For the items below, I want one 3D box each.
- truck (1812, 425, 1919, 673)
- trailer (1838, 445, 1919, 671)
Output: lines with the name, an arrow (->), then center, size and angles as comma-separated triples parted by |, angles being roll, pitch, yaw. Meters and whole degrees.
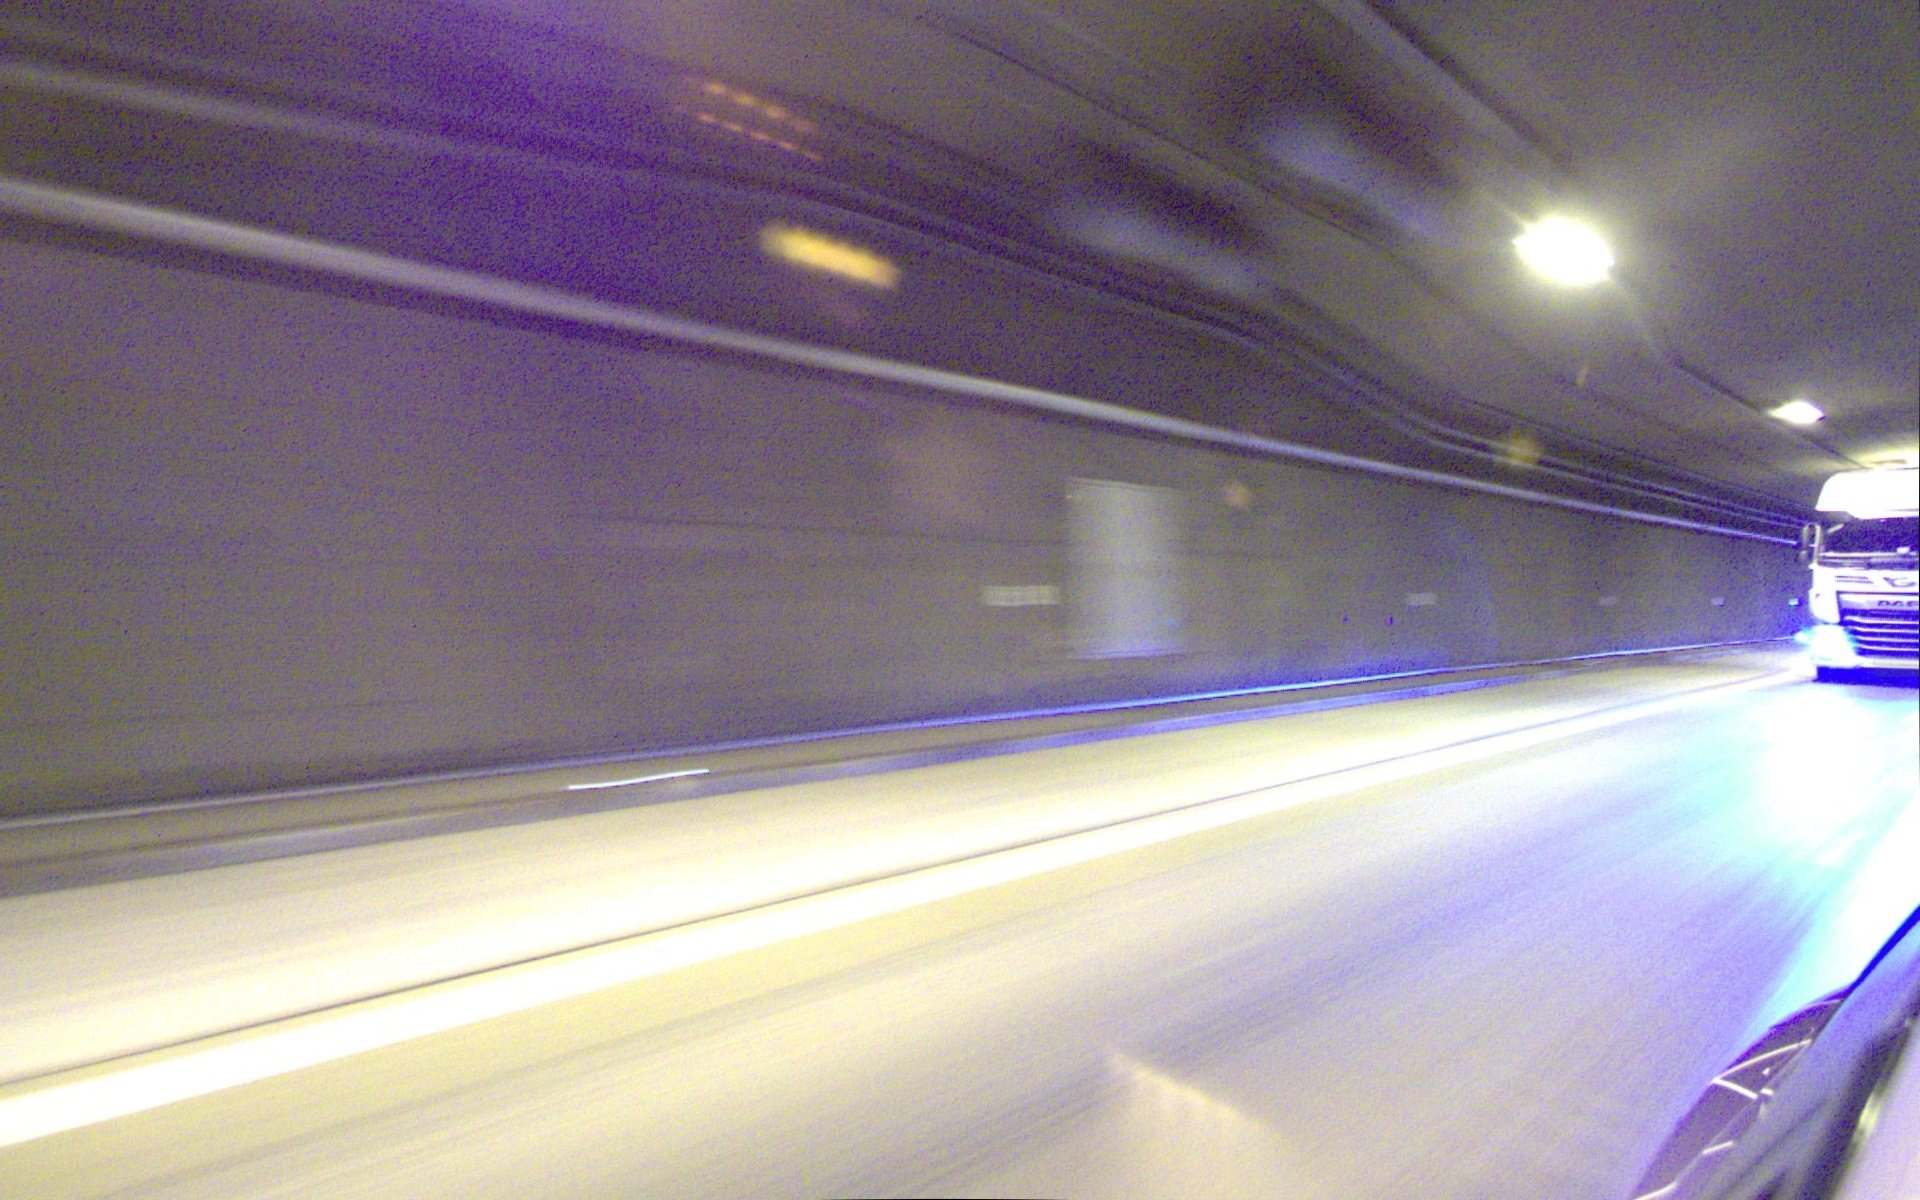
truck -> 18.523, -0.883, 19.158 | 5.899, 4.216, 2.651 | 0, -1, -40
trailer -> 23.218, -0.822, 23.139 | 13.754, 4.216, 2.625 | 0, -1, -40
